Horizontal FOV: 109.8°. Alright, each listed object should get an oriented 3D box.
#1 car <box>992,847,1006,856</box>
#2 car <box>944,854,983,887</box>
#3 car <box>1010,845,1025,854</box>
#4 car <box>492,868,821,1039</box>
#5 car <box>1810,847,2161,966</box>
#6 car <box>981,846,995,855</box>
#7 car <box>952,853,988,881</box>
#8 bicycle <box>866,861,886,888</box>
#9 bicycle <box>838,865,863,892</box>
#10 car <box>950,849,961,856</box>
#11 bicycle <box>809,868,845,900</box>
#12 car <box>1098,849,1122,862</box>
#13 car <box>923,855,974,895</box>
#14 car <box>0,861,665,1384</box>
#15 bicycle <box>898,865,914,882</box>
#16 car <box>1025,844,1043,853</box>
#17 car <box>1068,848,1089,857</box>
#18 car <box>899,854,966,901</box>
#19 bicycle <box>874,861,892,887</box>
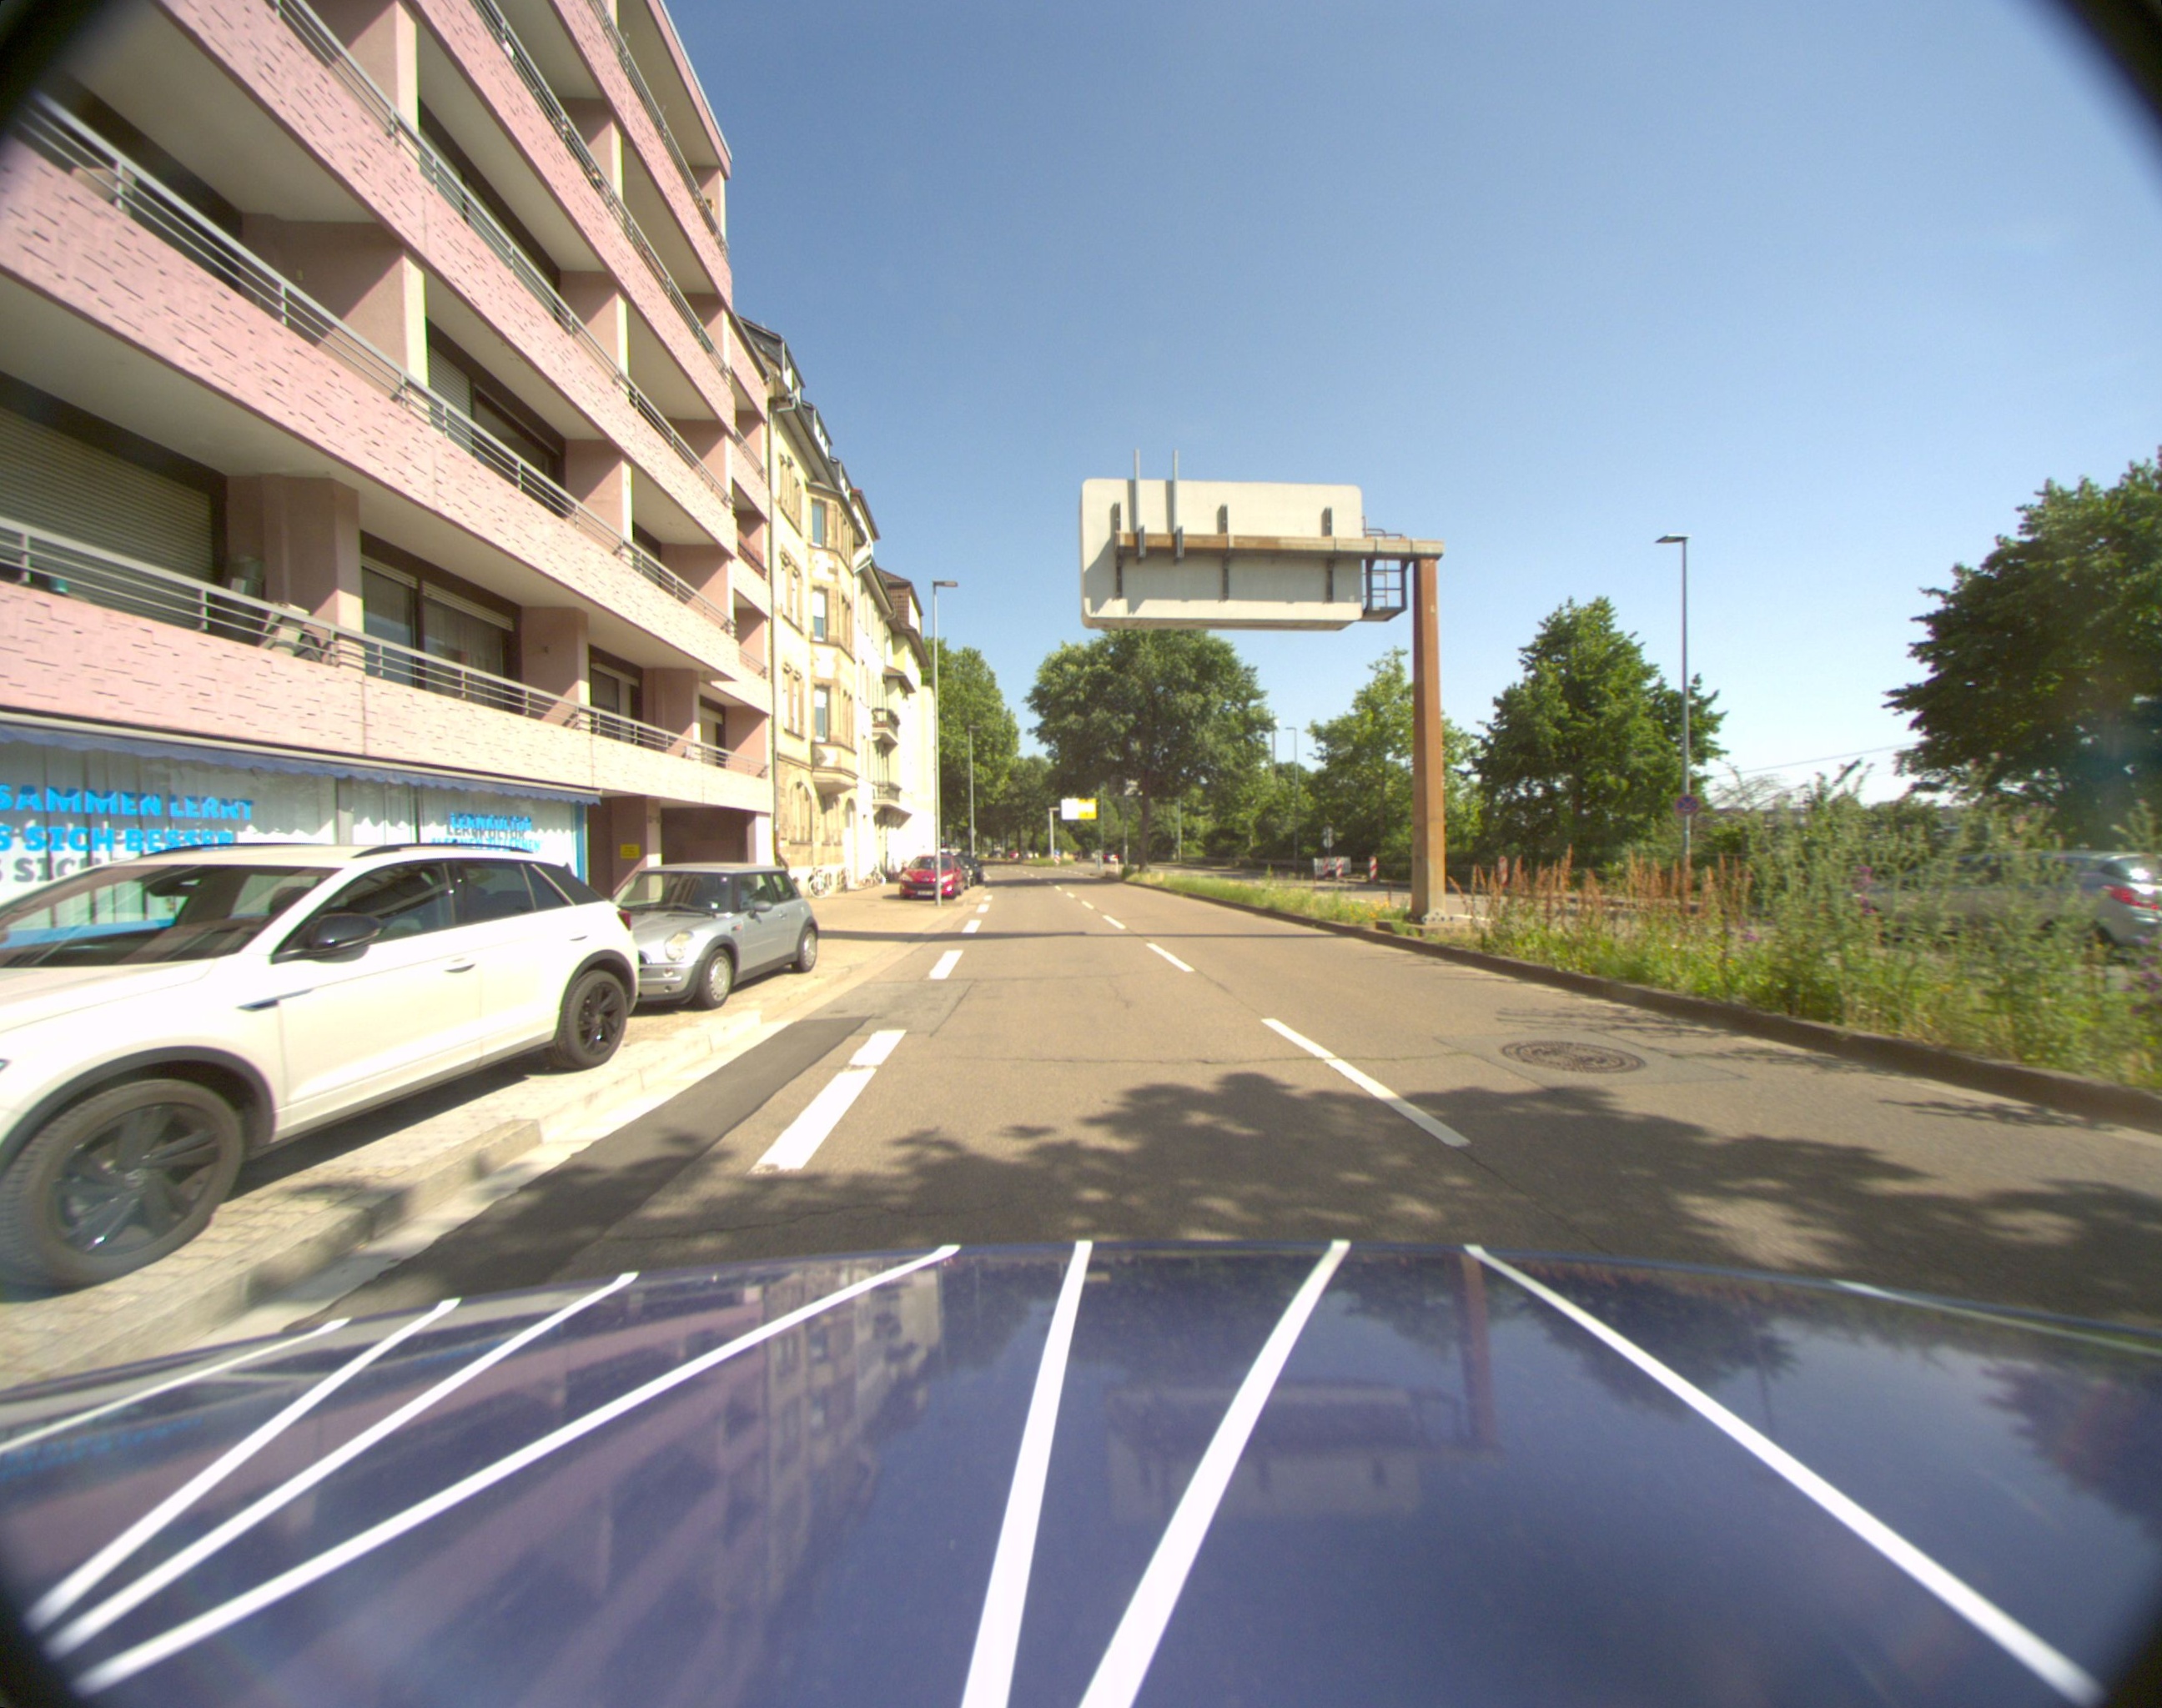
[{"bbox_3d":[-17.069,-0.519,157.275,1.925,1.654,4.304,-1,0,-20],"label":"car"},{"bbox_3d":[-5.710,0.771,37.220,1.647,1.492,4.007,0,1,-6],"label":"car"},{"bbox_3d":[-11.316,-0.805,134.970,1.804,1.511,3.958,-1,1,-17],"label":"car"},{"bbox_3d":[-4.301,0.907,8.367,1.682,1.400,3.430,0,0,0],"label":"car"},{"bbox_3d":[13.587,0.625,11.245,1.650,1.408,3.969,-1,0,-4],"label":"car"},{"bbox_3d":[-18.597,-0.723,151.811,2.002,1.880,3.993,-2,1,-19],"label":"car"},{"bbox_3d":[-6.024,0.689,41.709,1.746,1.408,4.078,0,1,-6],"label":"car"},{"bbox_3d":[-9.179,0.920,34.105,0.657,1.140,1.625,0,1,-7],"label":"bicycle"},{"bbox_3d":[-8.844,0.915,29.171,0.509,0.964,1.652,-1,1,-3],"label":"bicycle"},{"bbox_3d":[-28.270,-0.357,171.363,1.636,1.487,3.673,-1,1,-23],"label":"car"},{"bbox_3d":[-8.551,0.993,25.662,0.652,0.964,1.863,-1,1,-3],"label":"bicycle"},{"bbox_3d":[3.602,0.131,94.951,2.000,1.519,4.693,0,1,-11],"label":"car"},{"bbox_3d":[-5.430,0.822,31.535,1.647,1.444,4.124,-1,1,-4],"label":"car"},{"bbox_3d":[-4.213,0.856,3.910,1.740,1.532,4.353,-1,1,0],"label":"car"},{"bbox_3d":[-10.204,1.111,44.341,0.609,0.940,2.113,-1,1,-7],"label":"bicycle"},{"bbox_3d":[-7.761,-0.846,124.524,1.872,1.444,4.197,0,1,-19],"label":"car"},{"bbox_3d":[-0.413,-0.264,113.645,2.001,1.403,4.608,0,1,-17],"label":"car"},{"bbox_3d":[-5.081,0.759,26.487,1.790,1.474,3.998,0,1,-4],"label":"car"},{"bbox_3d":[-9.355,0.917,35.982,0.567,1.173,1.625,-1,1,-7],"label":"bicycle"}]
